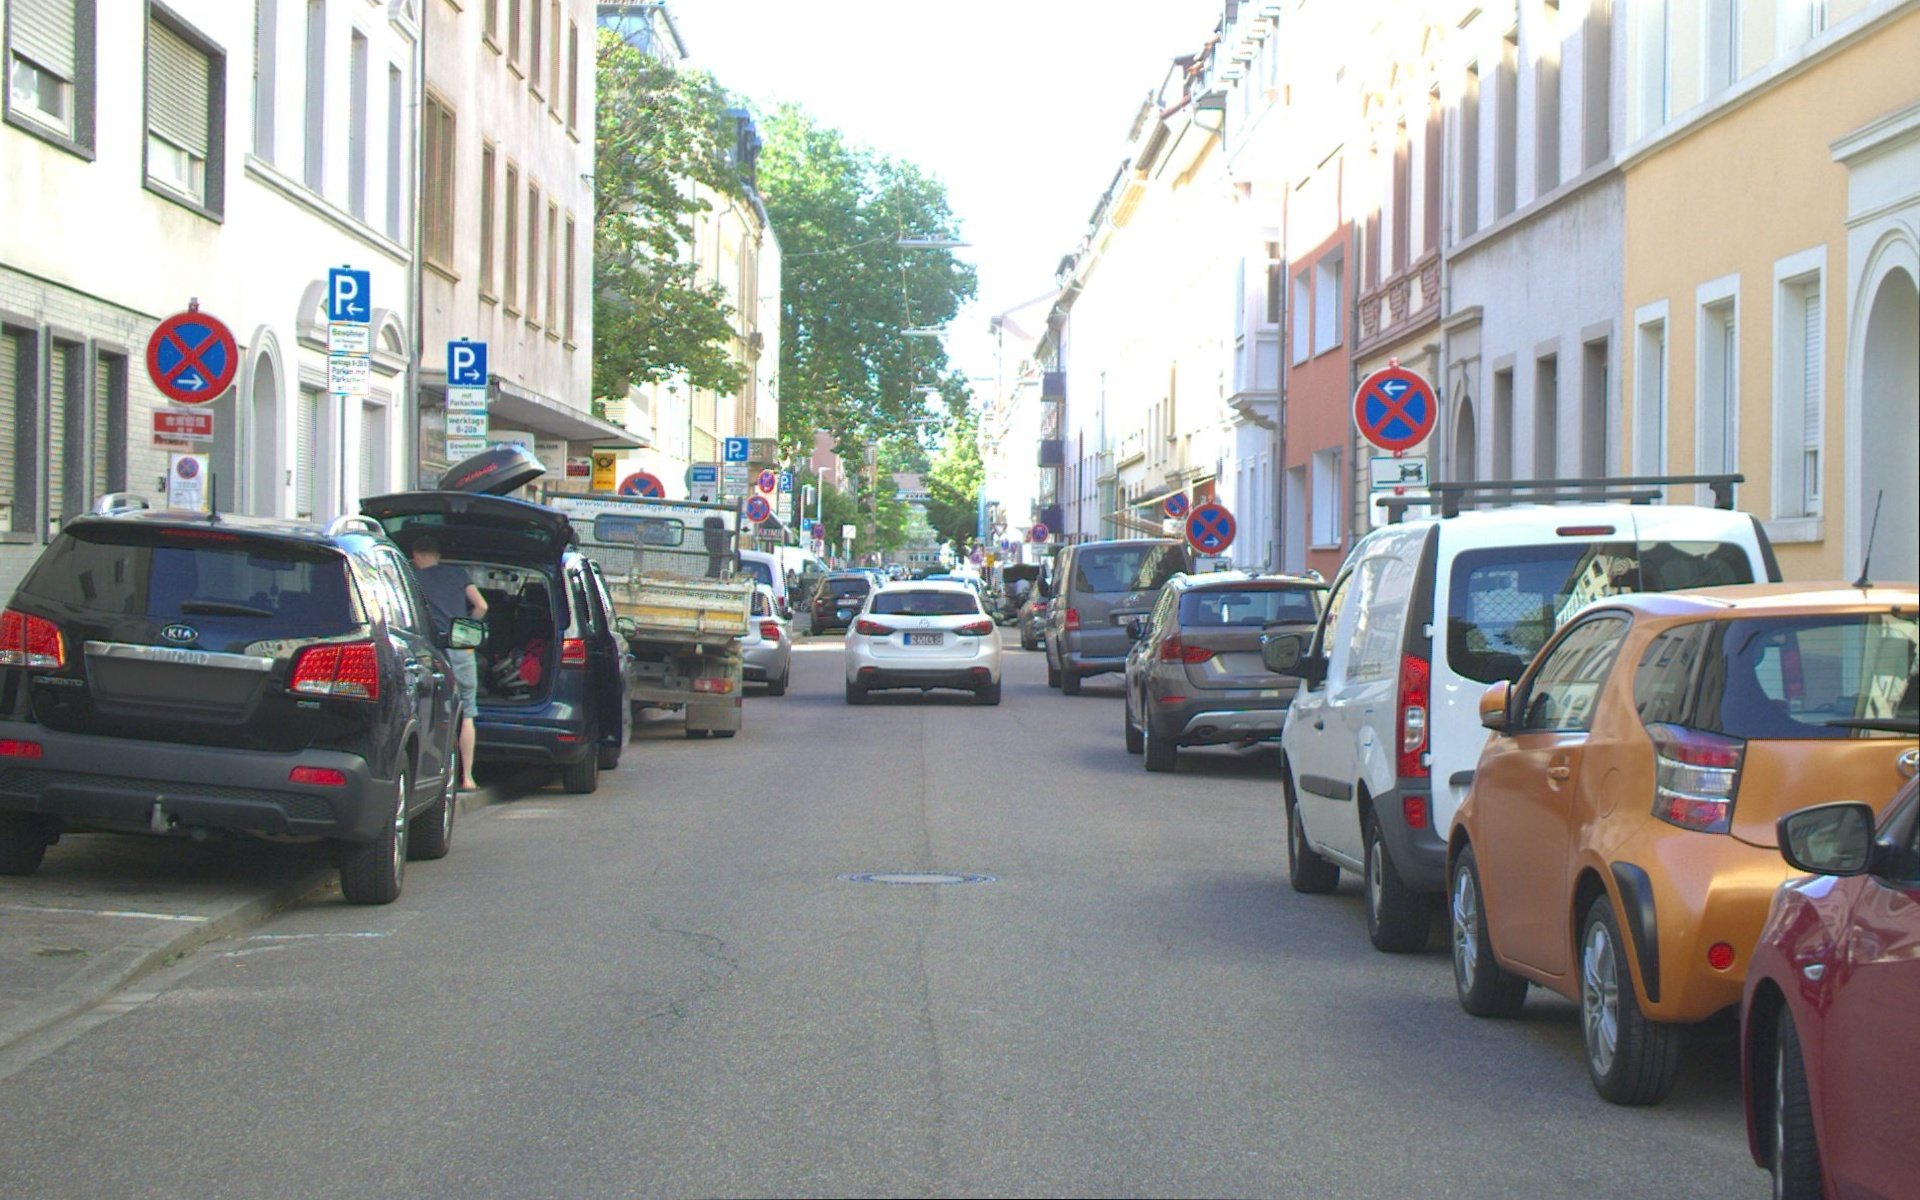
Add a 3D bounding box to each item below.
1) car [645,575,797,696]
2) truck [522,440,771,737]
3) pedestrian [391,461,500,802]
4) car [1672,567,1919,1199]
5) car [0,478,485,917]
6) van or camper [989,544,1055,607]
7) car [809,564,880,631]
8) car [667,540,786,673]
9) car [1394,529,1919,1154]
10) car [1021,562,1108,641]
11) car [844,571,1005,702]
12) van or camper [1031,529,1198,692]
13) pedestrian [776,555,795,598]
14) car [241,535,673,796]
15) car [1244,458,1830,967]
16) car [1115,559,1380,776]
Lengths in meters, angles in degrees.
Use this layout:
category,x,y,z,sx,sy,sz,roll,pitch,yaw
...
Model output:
category,x,y,z,sx,sy,sz,roll,pitch,yaw
car,-3.043,0.418,44.386,1.758,1.411,4.000,-2,1,-2
truck,-3.006,-0.086,33.152,2.156,2.581,6.250,0,0,-5
pedestrian,-3.402,0.209,22.766,0.619,2.221,0.688,0,-1,0
car,2.547,0.754,5.921,1.742,1.563,4.032,0,1,-1
car,-3.452,0.356,16.670,1.879,1.749,4.544,3,1,-4
van or camper,1.948,-0.742,108.470,1.993,1.919,4.000,0,0,0
car,-2.840,-0.086,85.051,1.625,1.591,3.580,1,1,0
car,-3.367,0.066,50.003,1.647,1.861,4.001,0,1,-3
car,2.513,0.619,10.906,1.580,1.626,3.682,2,1,-3
car,2.121,0.008,70.496,1.647,1.571,3.679,0,1,0
car,-0.385,0.399,41.220,1.834,1.481,4.057,0,1,1
van or camper,2.006,0.115,45.885,1.775,2.029,4.571,-1,0,-2
pedestrian,-5.961,-0.793,117.409,0.627,1.459,0.575,0,-1,0
car,-3.542,0.396,25.333,2.441,1.700,5.242,1,1,0
car,2.400,0.418,15.391,1.782,1.955,4.336,0,0,-2
car,2.255,0.481,27.977,1.739,1.571,4.378,0,1,-1
